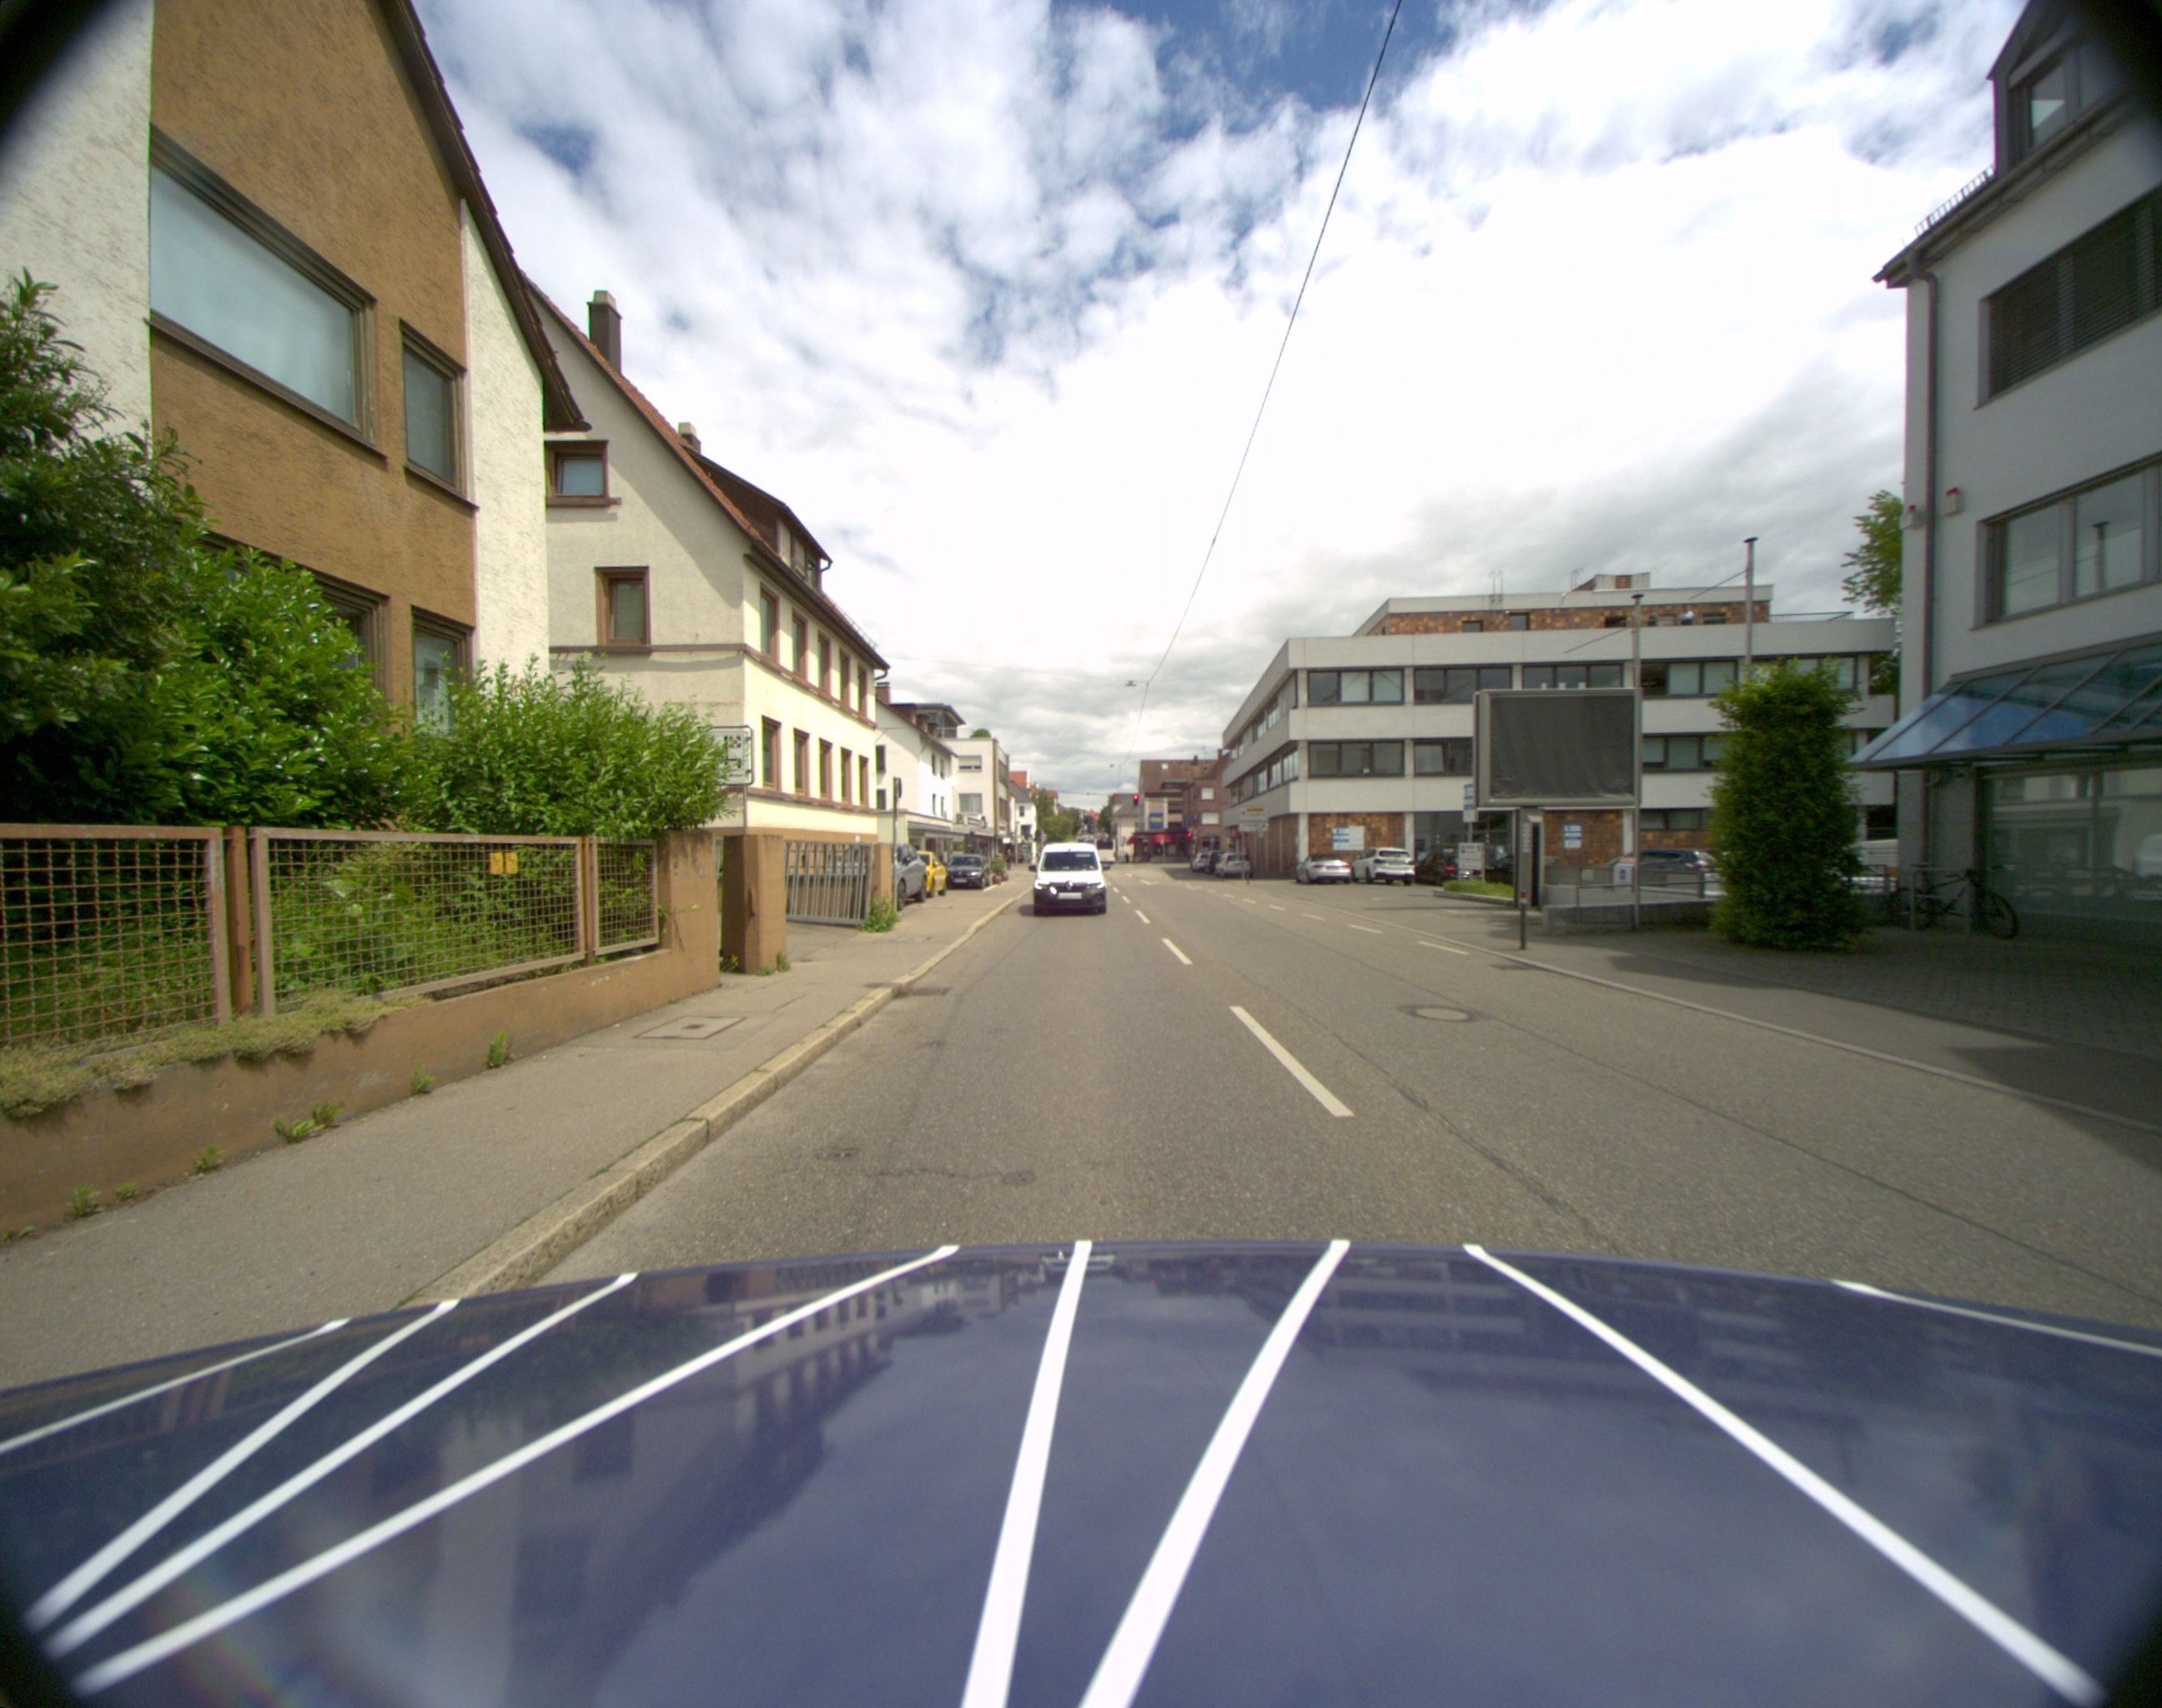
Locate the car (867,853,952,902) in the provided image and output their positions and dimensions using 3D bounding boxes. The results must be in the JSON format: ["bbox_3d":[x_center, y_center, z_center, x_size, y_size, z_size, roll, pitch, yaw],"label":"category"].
[{"bbox_3d":[-5.240,0.668,23.761,1.926,1.404,3.998,0,0,-3],"label":"car"}]

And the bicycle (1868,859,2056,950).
[{"bbox_3d":[12.399,0.669,10.782,0.644,1.135,1.686,-2,1,-4],"label":"bicycle"}]

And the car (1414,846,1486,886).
[{"bbox_3d":[16.602,0.493,34.369,1.648,1.599,3.842,-1,1,4],"label":"car"}]

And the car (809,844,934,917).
[{"bbox_3d":[-5.053,0.576,18.949,1.999,1.610,4.100,0,0,-1],"label":"car"}]

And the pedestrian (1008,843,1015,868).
[{"bbox_3d":[-5.699,0.138,62.137,0.476,2.010,0.918,0,1,1],"label":"pedestrian"}]

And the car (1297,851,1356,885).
[{"bbox_3d":[11.189,0.597,34.891,1.824,1.321,4.237,-1,1,7],"label":"car"}]

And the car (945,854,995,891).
[{"bbox_3d":[-4.639,0.739,32.146,1.656,1.413,3.999,0,0,-2],"label":"car"}]

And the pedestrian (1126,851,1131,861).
[{"bbox_3d":[6.559,0.251,103.990,0.669,1.424,0.778,0,1,5],"label":"pedestrian"}]

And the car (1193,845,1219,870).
[{"bbox_3d":[9.158,0.221,56.016,1.701,1.766,4.463,-1,1,7],"label":"car"}]

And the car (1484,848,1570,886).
[{"bbox_3d":[20.124,0.544,34.449,1.796,1.557,3.666,-1,1,1],"label":"car"}]

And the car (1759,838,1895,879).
[{"bbox_3d":[32.791,0.157,33.612,1.975,1.656,4.428,-1,1,6],"label":"car"}]

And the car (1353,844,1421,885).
[{"bbox_3d":[13.691,0.418,34.260,1.896,1.687,3.802,2,2,7],"label":"car"}]

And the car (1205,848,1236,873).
[{"bbox_3d":[9.246,0.383,50.714,1.808,1.521,4.001,-1,1,8],"label":"car"}]

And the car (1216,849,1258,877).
[{"bbox_3d":[8.967,0.486,43.998,1.839,1.419,4.219,-1,1,4],"label":"car"}]

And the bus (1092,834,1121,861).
[{"bbox_3d":[3.191,-0.899,97.905,3.133,3.239,9.748,-1,1,-1],"label":"bus"}]

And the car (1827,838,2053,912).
[{"bbox_3d":[23.445,0.484,21.011,1.858,1.804,3.988,-1,1,3],"label":"car"}]

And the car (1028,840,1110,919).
[{"bbox_3d":[-0.216,0.563,20.362,1.870,1.805,5.006,-1,1,2],"label":"car"}]
